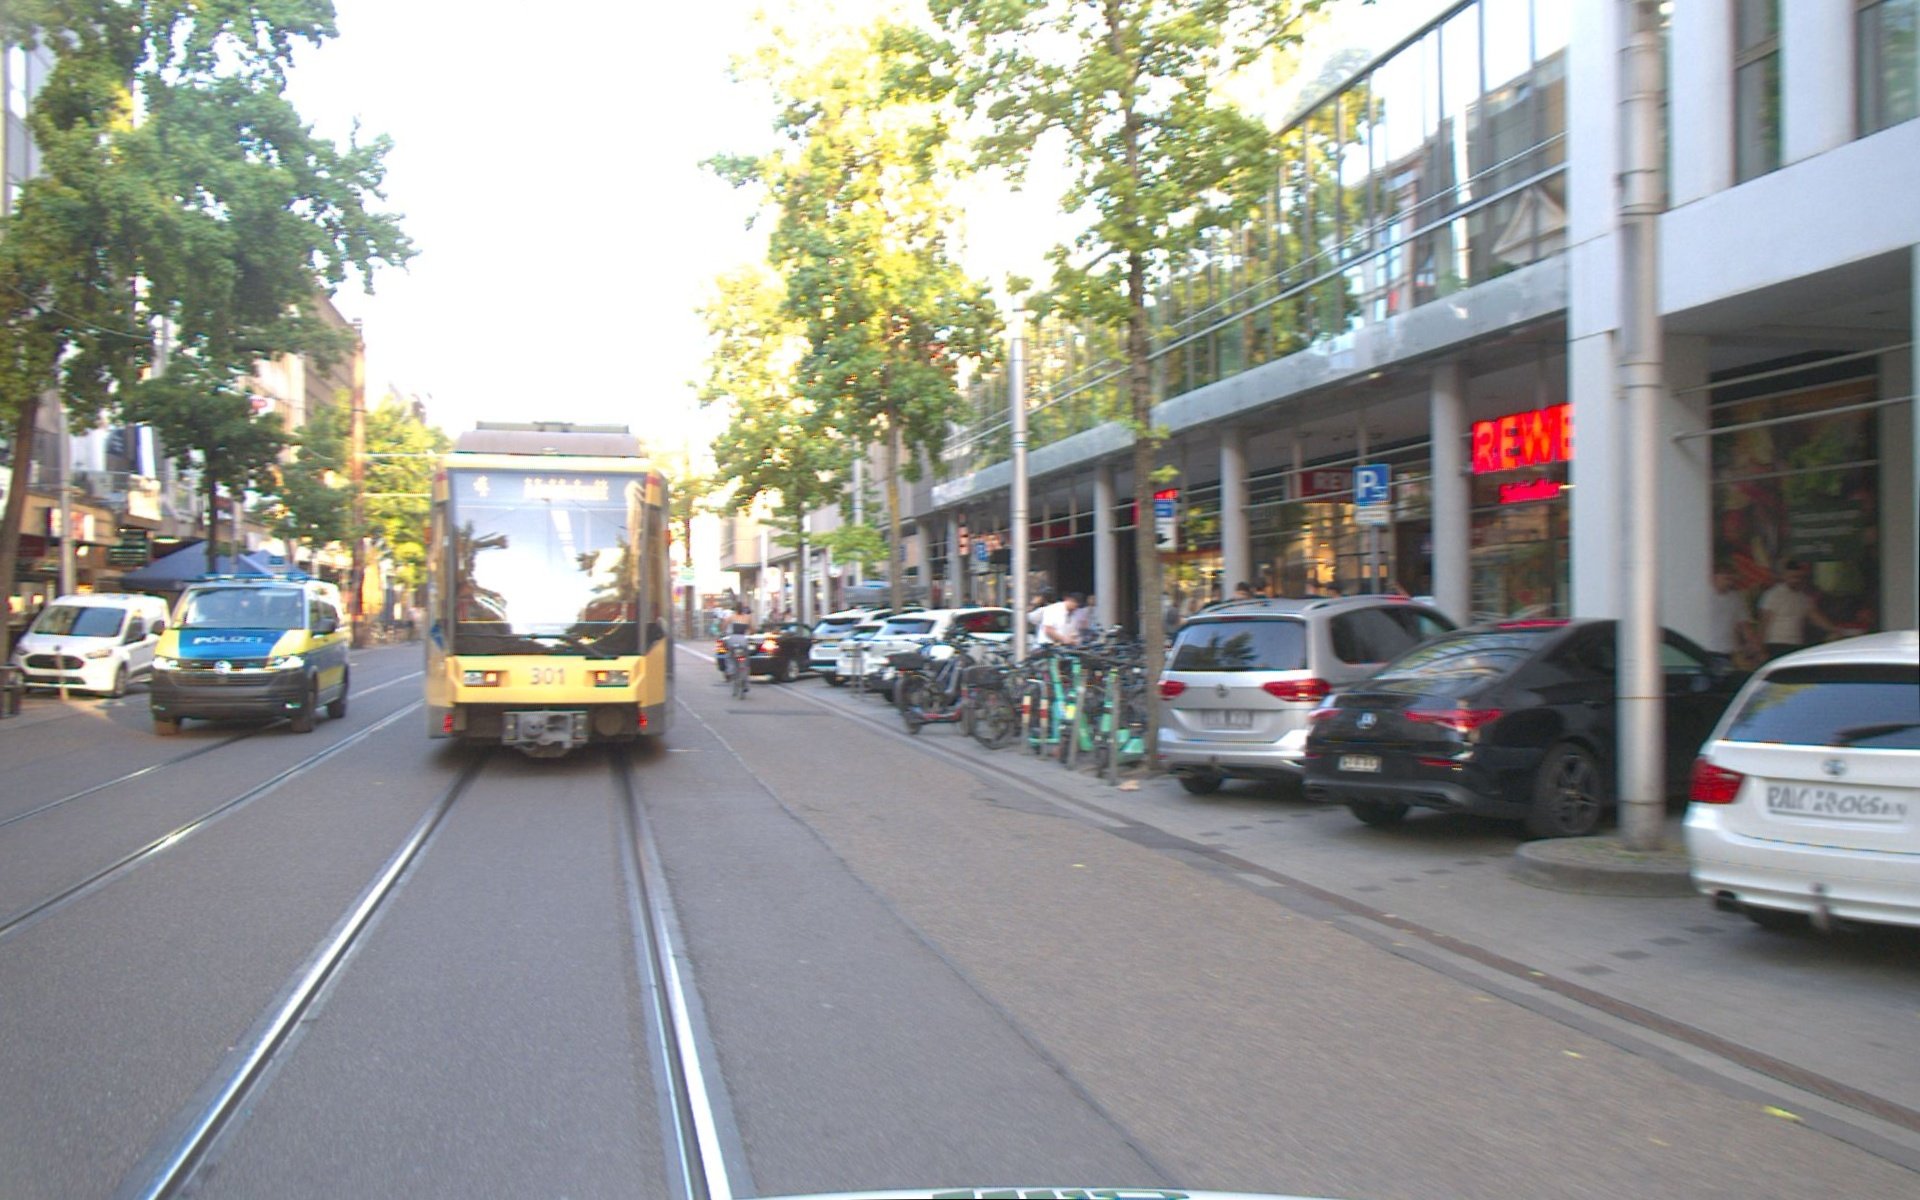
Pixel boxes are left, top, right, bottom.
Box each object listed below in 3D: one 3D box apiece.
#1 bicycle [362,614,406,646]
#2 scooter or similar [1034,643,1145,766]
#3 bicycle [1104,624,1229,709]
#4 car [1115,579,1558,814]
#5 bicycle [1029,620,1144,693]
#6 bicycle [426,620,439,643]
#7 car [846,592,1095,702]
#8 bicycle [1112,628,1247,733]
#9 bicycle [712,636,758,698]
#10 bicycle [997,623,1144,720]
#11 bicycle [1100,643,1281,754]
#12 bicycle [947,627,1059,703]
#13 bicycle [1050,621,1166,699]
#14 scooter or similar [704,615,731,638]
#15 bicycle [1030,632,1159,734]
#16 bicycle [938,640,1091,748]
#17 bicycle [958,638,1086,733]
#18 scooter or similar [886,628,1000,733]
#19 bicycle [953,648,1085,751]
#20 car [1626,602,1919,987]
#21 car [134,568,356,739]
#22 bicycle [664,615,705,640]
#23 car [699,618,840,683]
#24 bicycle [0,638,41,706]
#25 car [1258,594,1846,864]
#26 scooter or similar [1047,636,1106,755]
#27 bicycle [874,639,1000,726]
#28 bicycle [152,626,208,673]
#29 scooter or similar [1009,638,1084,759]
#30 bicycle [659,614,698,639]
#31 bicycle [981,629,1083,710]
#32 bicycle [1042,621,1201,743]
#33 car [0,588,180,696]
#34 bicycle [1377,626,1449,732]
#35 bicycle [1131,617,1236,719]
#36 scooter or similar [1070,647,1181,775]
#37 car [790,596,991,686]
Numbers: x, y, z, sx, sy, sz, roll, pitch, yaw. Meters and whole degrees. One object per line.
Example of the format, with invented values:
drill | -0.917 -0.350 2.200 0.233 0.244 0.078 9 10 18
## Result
bicycle | -26.615 1.391 76.426 1.775 1.384 0.655 3 -2 -26
scooter or similar | 1.380 1.079 17.437 0.489 1.202 1.326 -1 0 39
bicycle | 2.970 0.930 23.695 1.820 1.113 0.811 -2 0 -45
car | 3.562 0.748 14.983 1.920 1.668 4.650 -3 0 41
bicycle | 2.143 0.936 27.944 1.731 1.136 0.923 -2 0 -38
bicycle | -27.622 1.641 86.622 0.602 1.146 2.240 3 -2 -18
car | 0.250 0.784 28.885 1.845 1.590 4.316 -3 0 44
bicycle | 2.737 0.982 20.573 1.672 1.169 0.497 -3 1 -29
bicycle | -4.141 1.208 30.327 0.644 1.079 2.050 1 -1 -12
bicycle | 1.538 0.962 22.822 1.975 1.168 0.690 -3 1 -32
bicycle | 2.438 1.021 17.630 1.845 1.095 0.627 -2 1 42
bicycle | 0.718 1.045 27.020 0.902 1.136 1.739 -2 0 42
bicycle | 2.364 0.937 26.262 1.777 1.136 0.831 -2 0 -43
scooter or similar | -13.538 1.488 92.261 1.363 1.232 0.511 -1 -1 -27
bicycle | 1.713 1.029 20.918 1.666 1.158 0.473 -3 1 -34
bicycle | 0.693 1.129 20.326 1.978 1.149 0.669 -3 1 -44
bicycle | 0.841 1.112 22.090 0.613 1.095 1.821 -1 2 44
scooter or similar | -0.226 1.044 21.974 1.366 1.327 0.694 -1 0 39
bicycle | 0.726 1.172 19.896 1.735 1.095 0.486 -3 1 -44
car | 5.407 0.752 8.271 4.302 1.447 1.806 -3 1 -36
car | -9.404 0.650 22.143 1.960 2.011 4.831 0 0 -14
bicycle | -16.186 1.610 97.183 2.291 1.497 0.787 0 -2 -17
car | -4.404 1.148 38.894 1.763 1.372 4.449 -1 0 15
bicycle | -16.036 1.185 26.957 0.598 1.087 2.020 -1 -1 16
car | 4.434 0.812 12.160 4.301 1.447 1.931 -3 0 -36
scooter or similar | 1.298 1.049 18.570 0.556 1.226 1.281 -2 0 1
bicycle | -0.319 1.162 23.886 0.793 1.136 1.737 -1 0 44
bicycle | -19.697 1.225 41.733 0.806 1.122 2.135 0 0 -39
scooter or similar | 0.937 1.060 18.186 0.474 1.243 1.210 -3 0 -12
bicycle | -17.235 1.635 101.124 2.291 1.497 0.787 0 -2 -17
bicycle | 1.099 1.037 25.108 1.585 1.051 0.545 -6 3 -43
bicycle | 1.929 0.941 19.630 1.810 1.296 0.674 -3 1 -32
car | -16.183 0.780 30.948 1.762 1.850 4.502 1 -2 -11
bicycle | 5.216 0.883 19.117 0.560 1.102 1.885 -2 0 9
bicycle | 2.954 0.871 21.744 0.544 1.210 1.688 -2 1 38
scooter or similar | 1.681 1.091 16.660 0.567 1.170 1.398 -1 0 30
car | -1.456 0.859 36.009 1.889 1.666 4.179 -2 1 44
